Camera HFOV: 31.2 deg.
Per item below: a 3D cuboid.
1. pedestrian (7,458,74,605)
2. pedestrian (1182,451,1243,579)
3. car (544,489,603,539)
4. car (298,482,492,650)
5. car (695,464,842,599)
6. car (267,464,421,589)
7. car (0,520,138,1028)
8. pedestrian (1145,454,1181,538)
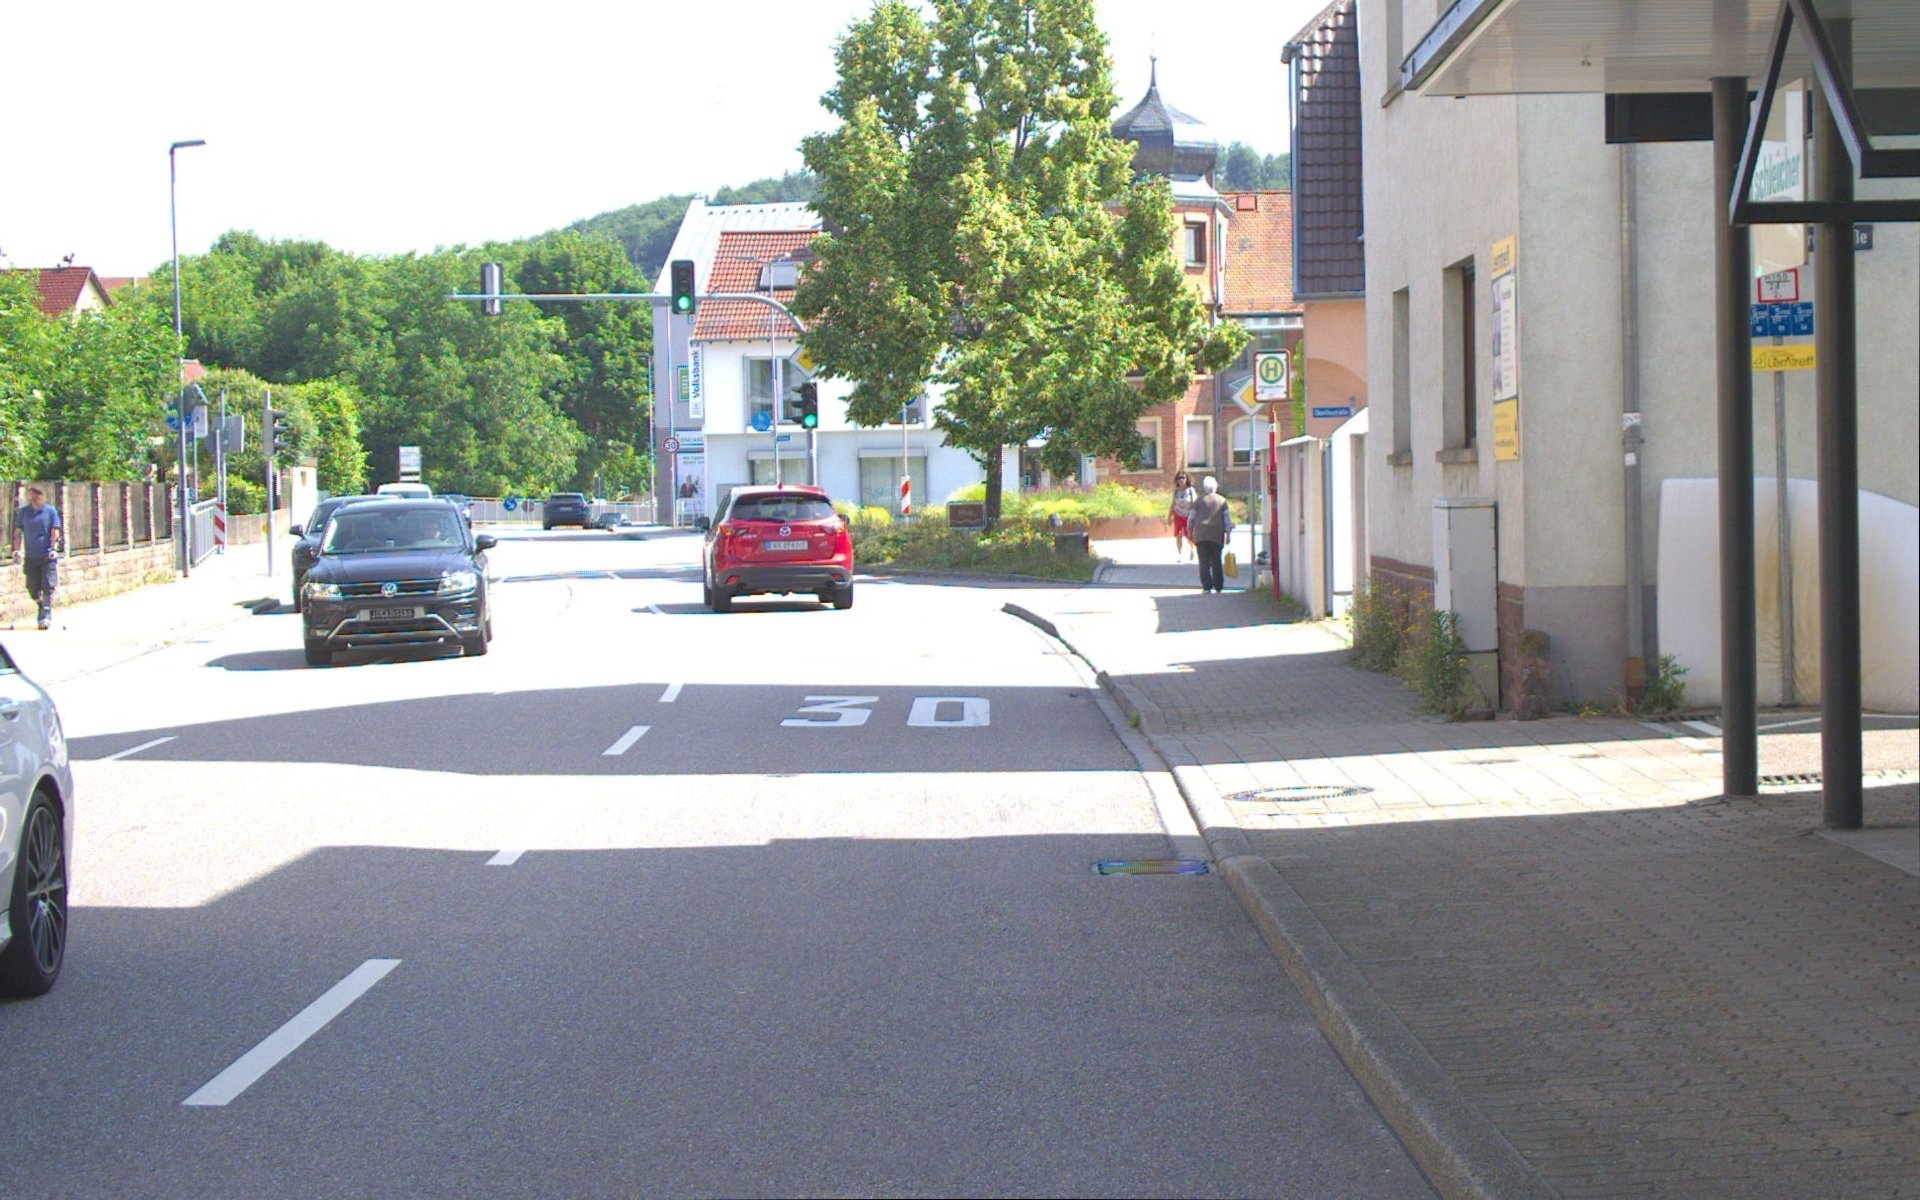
[{"bbox_3d":[-11.648,-0.862,43.562,0.665,1.818,0.799,-2,-1,-7],"label":"pedestrian"},{"bbox_3d":[3.433,-1.148,46.809,0.642,1.701,0.700,-2,-1,-7],"label":"pedestrian"},{"bbox_3d":[-15.564,-3.455,138.716,1.932,1.788,3.956,-2,-1,-1],"label":"car"},{"bbox_3d":[-5.886,-0.413,36.092,1.839,1.527,4.254,-2,3,-8],"label":"car"},{"bbox_3d":[-2.562,-0.922,45.990,1.858,1.709,4.423,0,1,-3],"label":"car"},{"bbox_3d":[-9.207,-1.115,51.650,1.774,1.778,3.840,-1,2,-3],"label":"car"},{"bbox_3d":[-3.722,0.535,9.449,1.987,1.439,5.102,-2,2,-4],"label":"car"},{"bbox_3d":[4.603,-2.365,78.107,0.642,1.872,0.652,-2,-1,-7],"label":"pedestrian"}]
